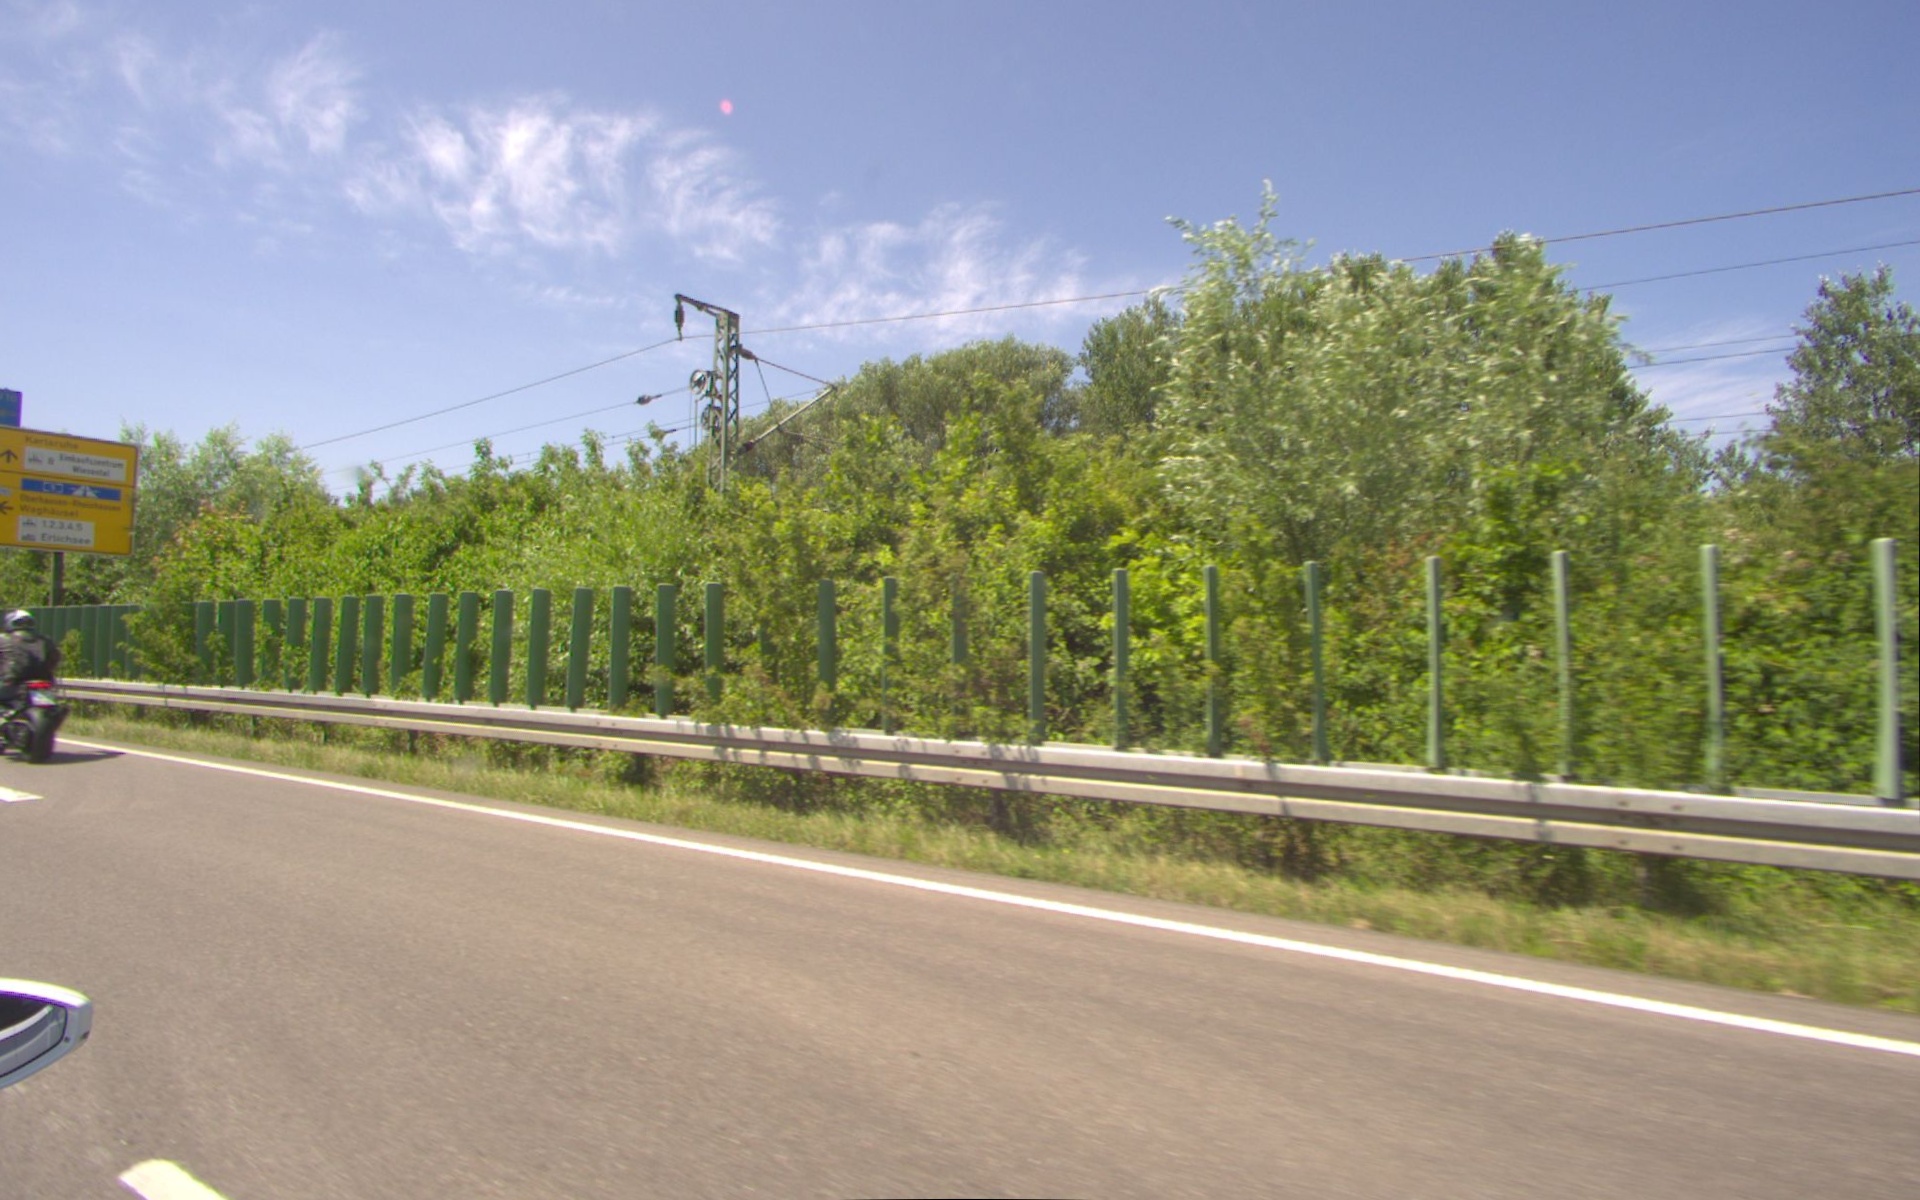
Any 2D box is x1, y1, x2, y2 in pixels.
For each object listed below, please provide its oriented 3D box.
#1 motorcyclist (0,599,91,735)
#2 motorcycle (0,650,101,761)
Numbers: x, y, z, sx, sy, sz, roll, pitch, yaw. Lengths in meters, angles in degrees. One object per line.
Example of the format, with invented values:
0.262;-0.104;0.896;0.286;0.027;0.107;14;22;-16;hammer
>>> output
-10.842;0.758;11.615;0.988;1.495;0.888;-1;-1;32;motorcyclist
-10.907;1.182;11.697;1.874;1.172;0.789;-1;-2;32;motorcycle
